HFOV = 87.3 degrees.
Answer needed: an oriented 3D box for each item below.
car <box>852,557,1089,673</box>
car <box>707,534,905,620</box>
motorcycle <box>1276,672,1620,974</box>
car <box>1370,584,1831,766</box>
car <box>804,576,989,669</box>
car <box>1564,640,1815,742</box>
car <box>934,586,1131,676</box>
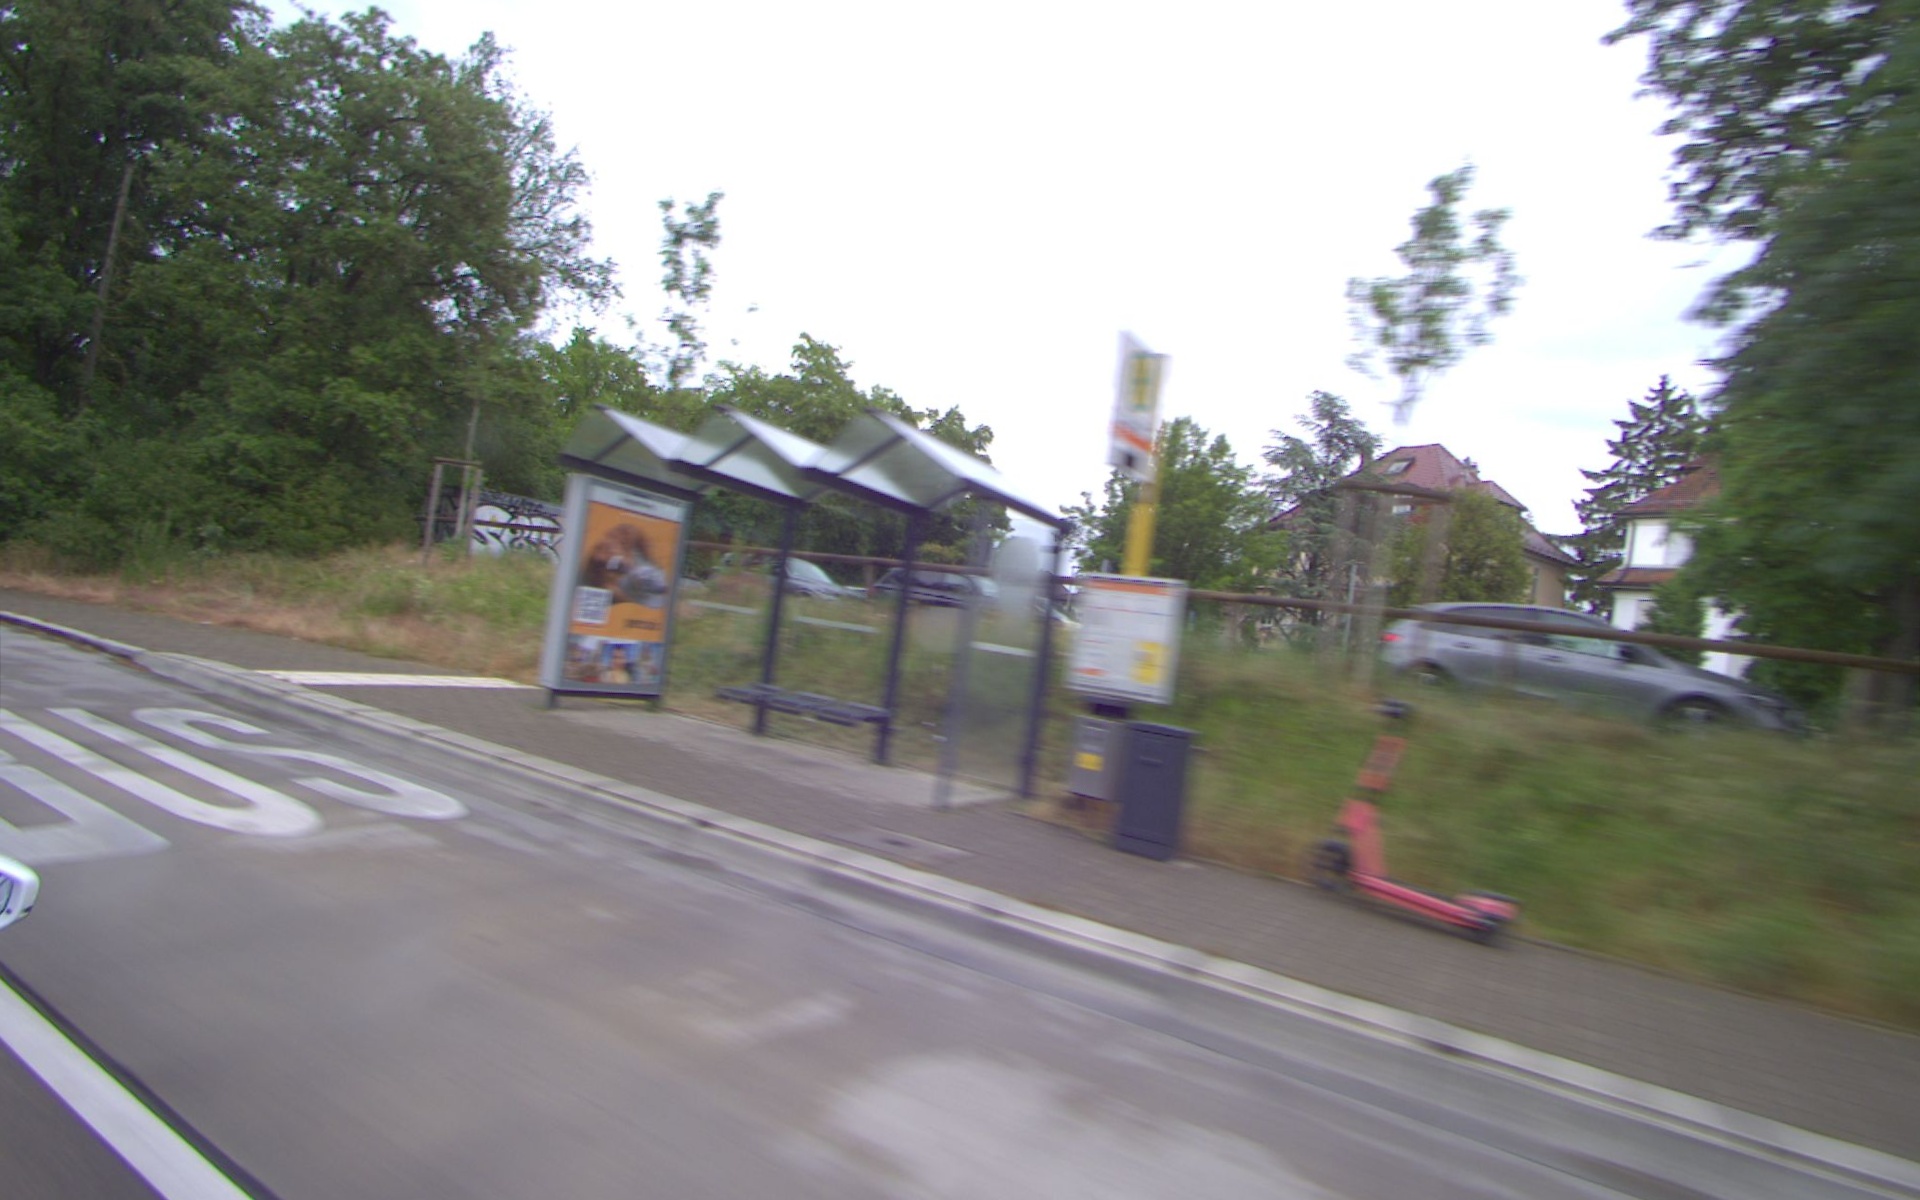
[{"bbox_3d":[0.160,0.274,20.875,4.405,1.678,1.997,7,-5,38],"label":"car"},{"bbox_3d":[-3.782,-0.588,24.236,4.712,1.495,1.888,5,-5,39],"label":"car"},{"bbox_3d":[2.703,1.170,5.698,0.587,1.304,1.519,8,-1,-42],"label":"motorcycle"},{"bbox_3d":[7.437,0.846,11.994,4.221,1.495,1.996,5,-5,38],"label":"car"},{"bbox_3d":[-1.703,0.559,26.305,4.405,1.678,1.997,7,-5,38],"label":"car"},{"bbox_3d":[15.193,1.893,21.159,4.007,1.495,1.888,5,-5,37],"label":"car"},{"bbox_3d":[1.626,0.686,23.141,4.009,1.495,1.888,5,-5,39],"label":"car"}]
